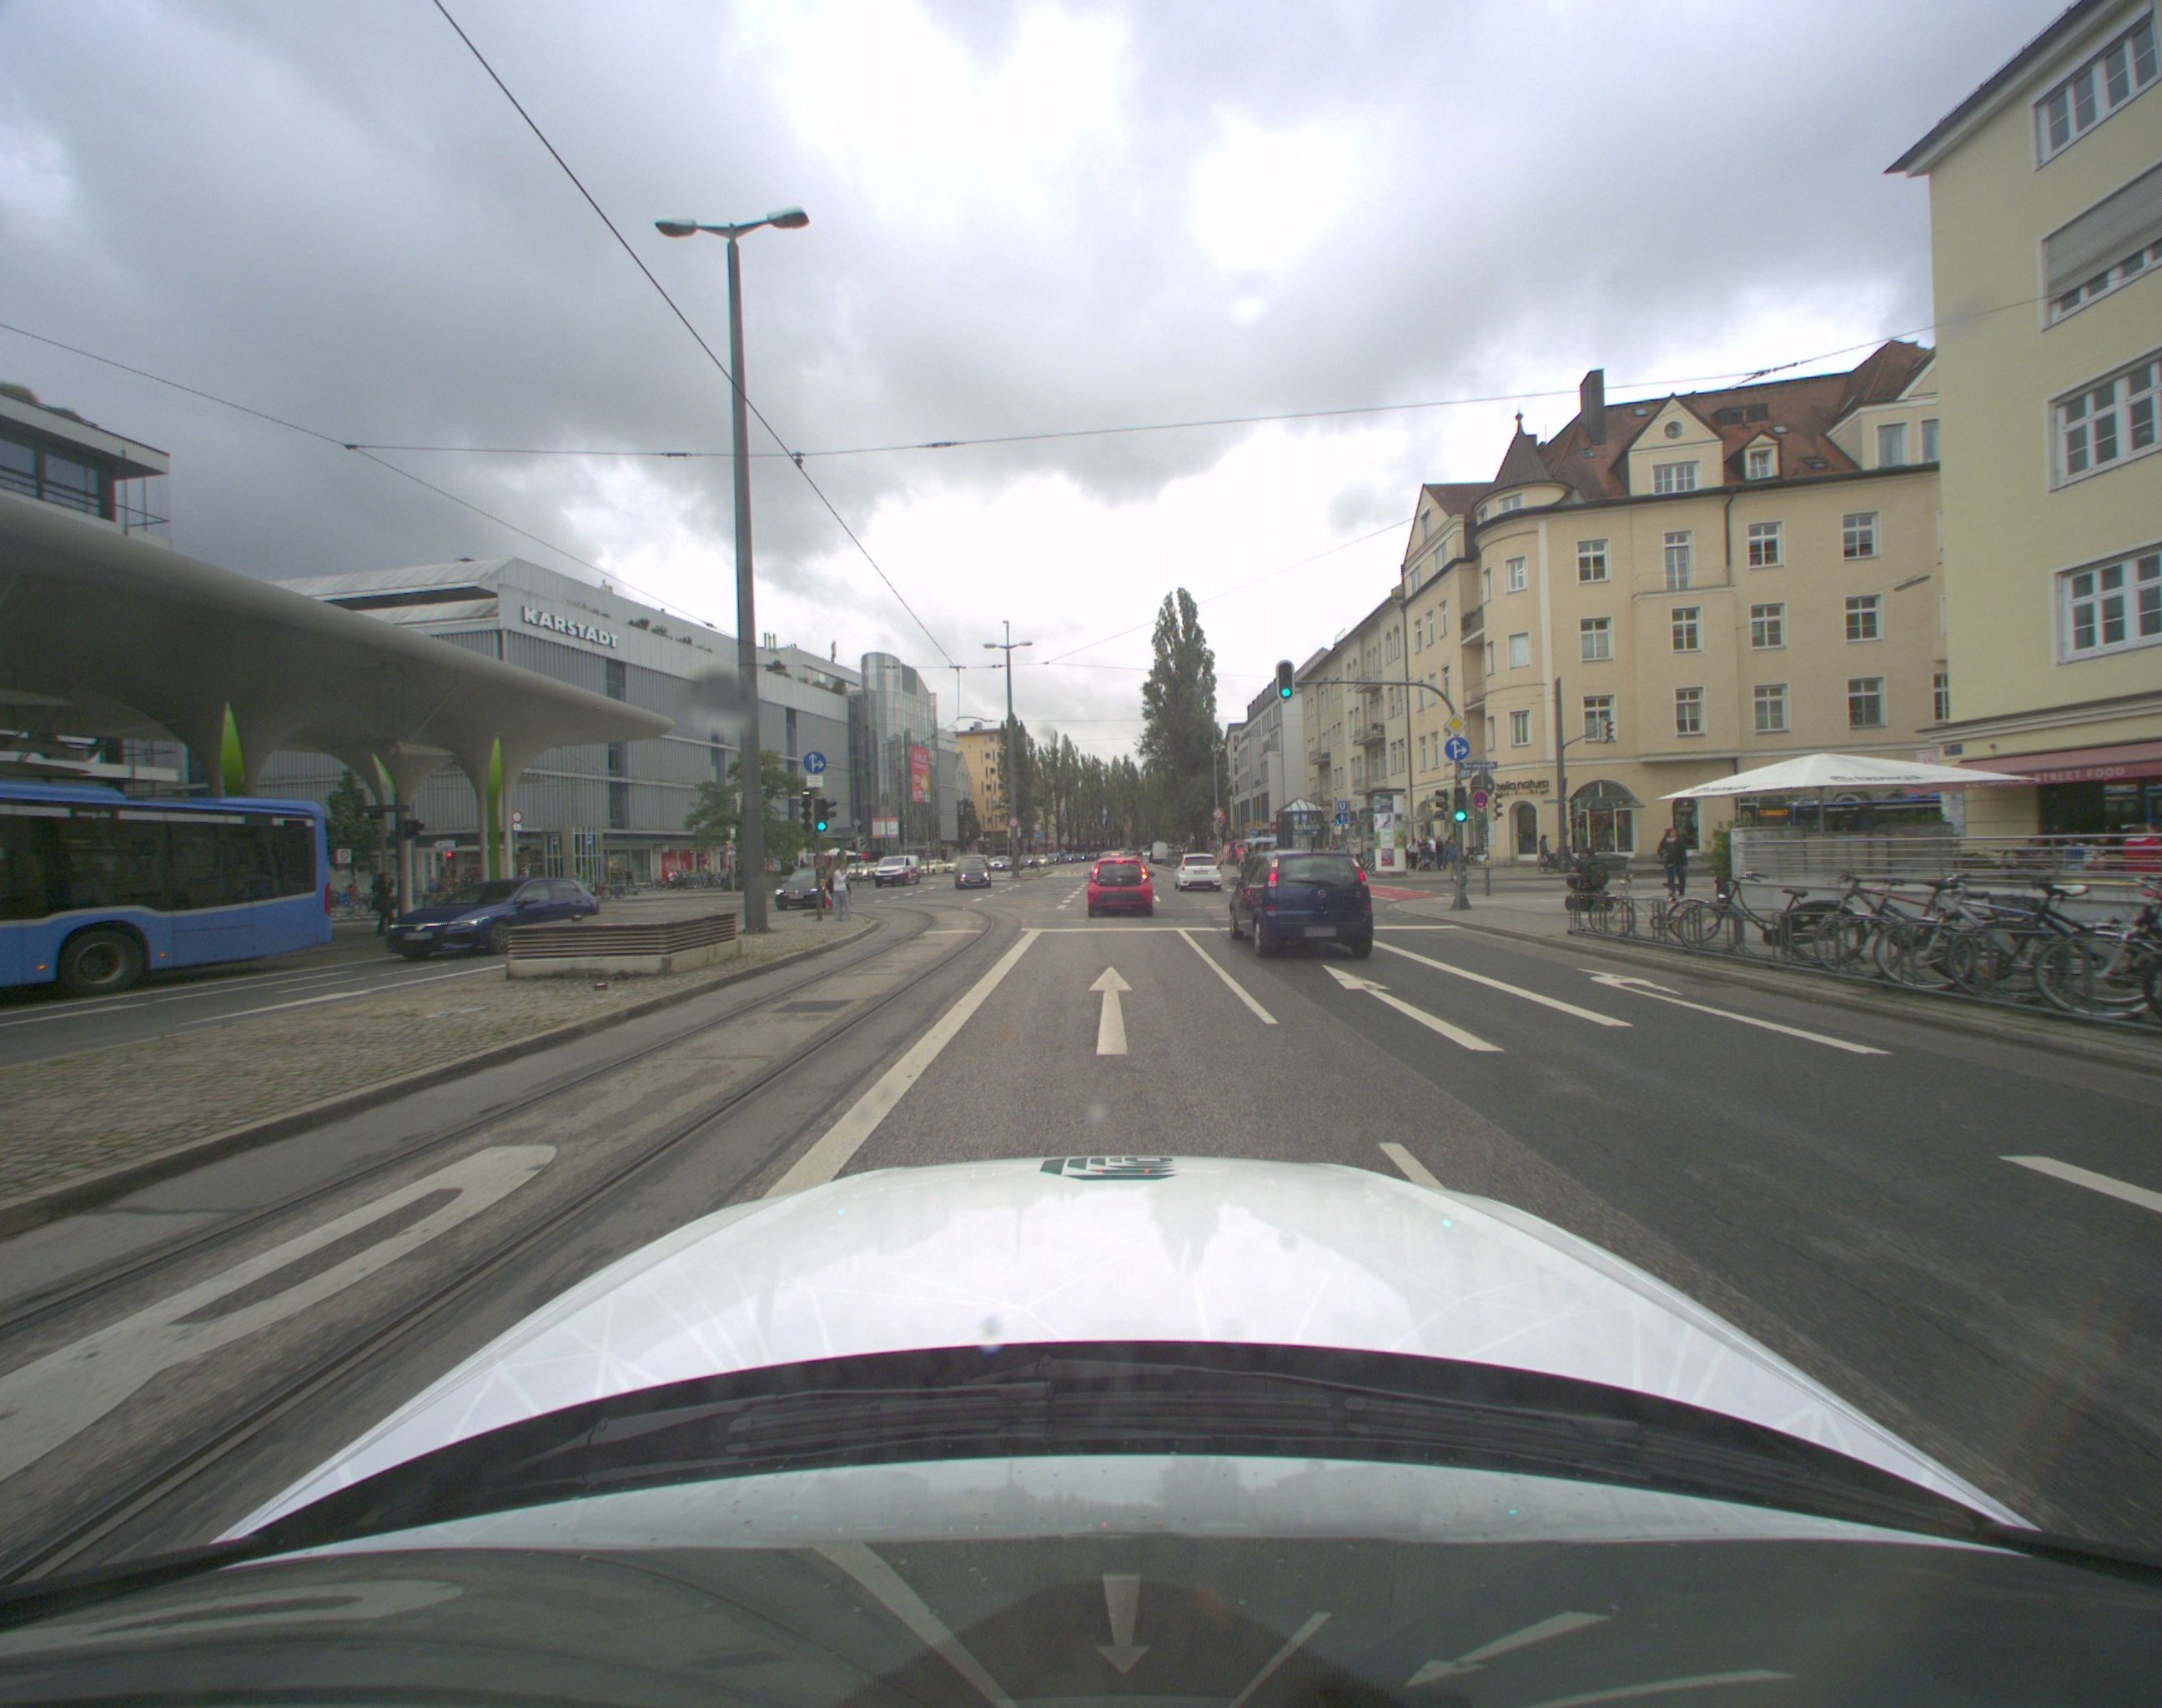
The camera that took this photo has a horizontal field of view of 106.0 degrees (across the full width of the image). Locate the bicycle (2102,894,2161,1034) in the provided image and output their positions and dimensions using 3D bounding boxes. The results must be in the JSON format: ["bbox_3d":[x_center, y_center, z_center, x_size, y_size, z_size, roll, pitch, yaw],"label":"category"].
[{"bbox_3d":[8.493,0.777,5.568,1.818,0.996,0.350,-3,-1,41],"label":"bicycle"}]

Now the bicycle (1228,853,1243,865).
[{"bbox_3d":[13.326,0.398,70.200,1.255,0.963,0.370,-2,0,4],"label":"bicycle"}]

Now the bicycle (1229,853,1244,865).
[{"bbox_3d":[13.313,0.404,69.717,1.253,0.963,0.370,-2,0,11],"label":"bicycle"}]

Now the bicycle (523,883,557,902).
[{"bbox_3d":[-30.893,2.188,46.509,0.525,0.998,1.987,-2,-2,3],"label":"bicycle"}]

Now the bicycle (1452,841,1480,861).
[{"bbox_3d":[21.148,-0.167,44.760,0.493,1.089,1.864,-2,0,-4],"label":"bicycle"}]

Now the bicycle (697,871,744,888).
[{"bbox_3d":[-28.319,1.994,63.964,3.468,1.156,1.064,-2,0,14],"label":"bicycle"}]

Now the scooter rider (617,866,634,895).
[{"bbox_3d":[-28.735,1.662,51.367,0.665,1.835,0.618,-2,0,-7],"label":"scooter rider"}]

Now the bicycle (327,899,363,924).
[{"bbox_3d":[-31.010,2.410,34.321,0.455,0.939,1.719,-2,-1,-19],"label":"bicycle"}]

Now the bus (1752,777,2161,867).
[{"bbox_3d":[35.537,-1.241,32.706,13.468,2.966,2.825,-2,1,12],"label":"bus"}]

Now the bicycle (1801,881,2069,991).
[{"bbox_3d":[8.594,0.794,8.302,0.350,0.996,1.819,-2,-1,-45],"label":"bicycle"}]

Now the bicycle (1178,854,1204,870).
[{"bbox_3d":[8.103,0.581,59.812,1.781,1.158,0.656,-2,0,38],"label":"bicycle"}]

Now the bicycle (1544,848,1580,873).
[{"bbox_3d":[21.386,0.289,36.207,1.580,1.033,0.247,-2,0,-13],"label":"bicycle"}]

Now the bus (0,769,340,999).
[{"bbox_3d":[-15.406,0.469,11.531,2.651,3.007,7.515,-4,0,1],"label":"bus"}]

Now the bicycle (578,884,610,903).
[{"bbox_3d":[-27.641,2.229,46.269,0.525,0.998,1.987,-2,-2,3],"label":"bicycle"}]

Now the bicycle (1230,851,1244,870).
[{"bbox_3d":[10.856,0.445,56.700,0.611,1.265,2.521,-2,0,3],"label":"bicycle"}]

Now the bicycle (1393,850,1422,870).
[{"bbox_3d":[17.851,0.312,44.564,0.495,1.059,1.858,-2,0,-13],"label":"bicycle"}]

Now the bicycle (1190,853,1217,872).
[{"bbox_3d":[8.167,0.575,54.227,0.562,1.198,1.782,-2,0,-45],"label":"bicycle"}]

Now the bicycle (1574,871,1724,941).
[{"bbox_3d":[8.697,0.783,12.534,0.350,0.996,1.819,-2,-1,-44],"label":"bicycle"}]

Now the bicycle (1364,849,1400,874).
[{"bbox_3d":[14.760,0.365,39.971,1.561,1.160,0.525,-3,2,4],"label":"bicycle"}]

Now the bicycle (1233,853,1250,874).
[{"bbox_3d":[9.923,0.577,50.444,0.611,1.265,2.521,-2,0,3],"label":"bicycle"}]

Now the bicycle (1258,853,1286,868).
[{"bbox_3d":[13.034,0.454,55.533,1.748,0.964,0.453,-2,0,0],"label":"bicycle"}]

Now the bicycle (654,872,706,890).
[{"bbox_3d":[-29.395,2.004,59.708,3.468,1.156,1.064,-2,0,14],"label":"bicycle"}]

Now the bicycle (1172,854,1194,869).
[{"bbox_3d":[8.173,0.590,65.380,1.782,1.111,0.590,-2,0,45],"label":"bicycle"}]

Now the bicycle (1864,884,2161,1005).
[{"bbox_3d":[8.581,0.796,7.585,0.350,0.996,1.819,-2,-1,-45],"label":"bicycle"}]

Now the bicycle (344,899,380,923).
[{"bbox_3d":[-30.681,2.410,34.786,0.455,0.939,1.721,-2,-1,-17],"label":"bicycle"}]

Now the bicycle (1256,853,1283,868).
[{"bbox_3d":[12.963,0.452,56.095,1.747,0.964,0.453,-2,0,2],"label":"bicycle"}]

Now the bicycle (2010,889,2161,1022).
[{"bbox_3d":[8.537,0.775,6.232,1.818,0.996,0.350,-3,-1,41],"label":"bicycle"}]

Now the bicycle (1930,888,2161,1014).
[{"bbox_3d":[8.557,0.798,6.919,0.350,0.996,1.819,-2,-1,-45],"label":"bicycle"}]

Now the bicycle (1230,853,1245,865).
[{"bbox_3d":[13.249,0.397,68.913,1.229,0.963,0.367,-2,0,-20],"label":"bicycle"}]

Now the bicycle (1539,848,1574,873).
[{"bbox_3d":[21.313,0.288,36.463,1.580,1.033,0.247,-2,0,-13],"label":"bicycle"}]

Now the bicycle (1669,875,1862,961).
[{"bbox_3d":[8.662,0.789,10.377,0.350,0.996,1.819,-2,-1,-44],"label":"bicycle"}]

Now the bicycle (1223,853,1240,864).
[{"bbox_3d":[13.262,0.401,71.692,1.423,0.963,0.370,-2,0,7],"label":"bicycle"}]

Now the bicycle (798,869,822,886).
[{"bbox_3d":[-19.116,1.661,57.403,1.566,1.112,0.374,-2,0,5],"label":"bicycle"}]

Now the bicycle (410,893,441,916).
[{"bbox_3d":[-28.795,2.223,35.775,0.455,0.939,1.720,-2,-1,-18],"label":"bicycle"}]

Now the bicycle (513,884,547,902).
[{"bbox_3d":[-31.525,2.220,46.602,0.525,0.998,1.987,-2,-2,3],"label":"bicycle"}]

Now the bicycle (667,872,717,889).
[{"bbox_3d":[-29.092,2.001,60.914,3.468,1.156,1.064,-2,0,14],"label":"bicycle"}]

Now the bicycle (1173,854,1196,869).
[{"bbox_3d":[8.148,0.594,63.952,1.782,1.111,0.566,-2,0,44],"label":"bicycle"}]

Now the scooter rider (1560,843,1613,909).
[{"bbox_3d":[11.010,0.476,17.757,0.698,1.389,0.643,-2,0,0],"label":"scooter rider"}]

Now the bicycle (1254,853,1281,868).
[{"bbox_3d":[13.026,0.444,56.786,1.747,0.964,0.369,-2,0,2],"label":"bicycle"}]

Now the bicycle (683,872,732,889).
[{"bbox_3d":[-28.678,1.998,62.538,3.468,1.156,1.064,-2,0,14],"label":"bicycle"}]

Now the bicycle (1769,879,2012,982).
[{"bbox_3d":[8.726,0.793,8.867,0.350,0.996,1.820,-2,-1,-42],"label":"bicycle"}]

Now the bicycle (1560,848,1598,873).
[{"bbox_3d":[21.766,0.292,35.595,1.580,1.033,0.356,-2,0,-13],"label":"bicycle"}]
